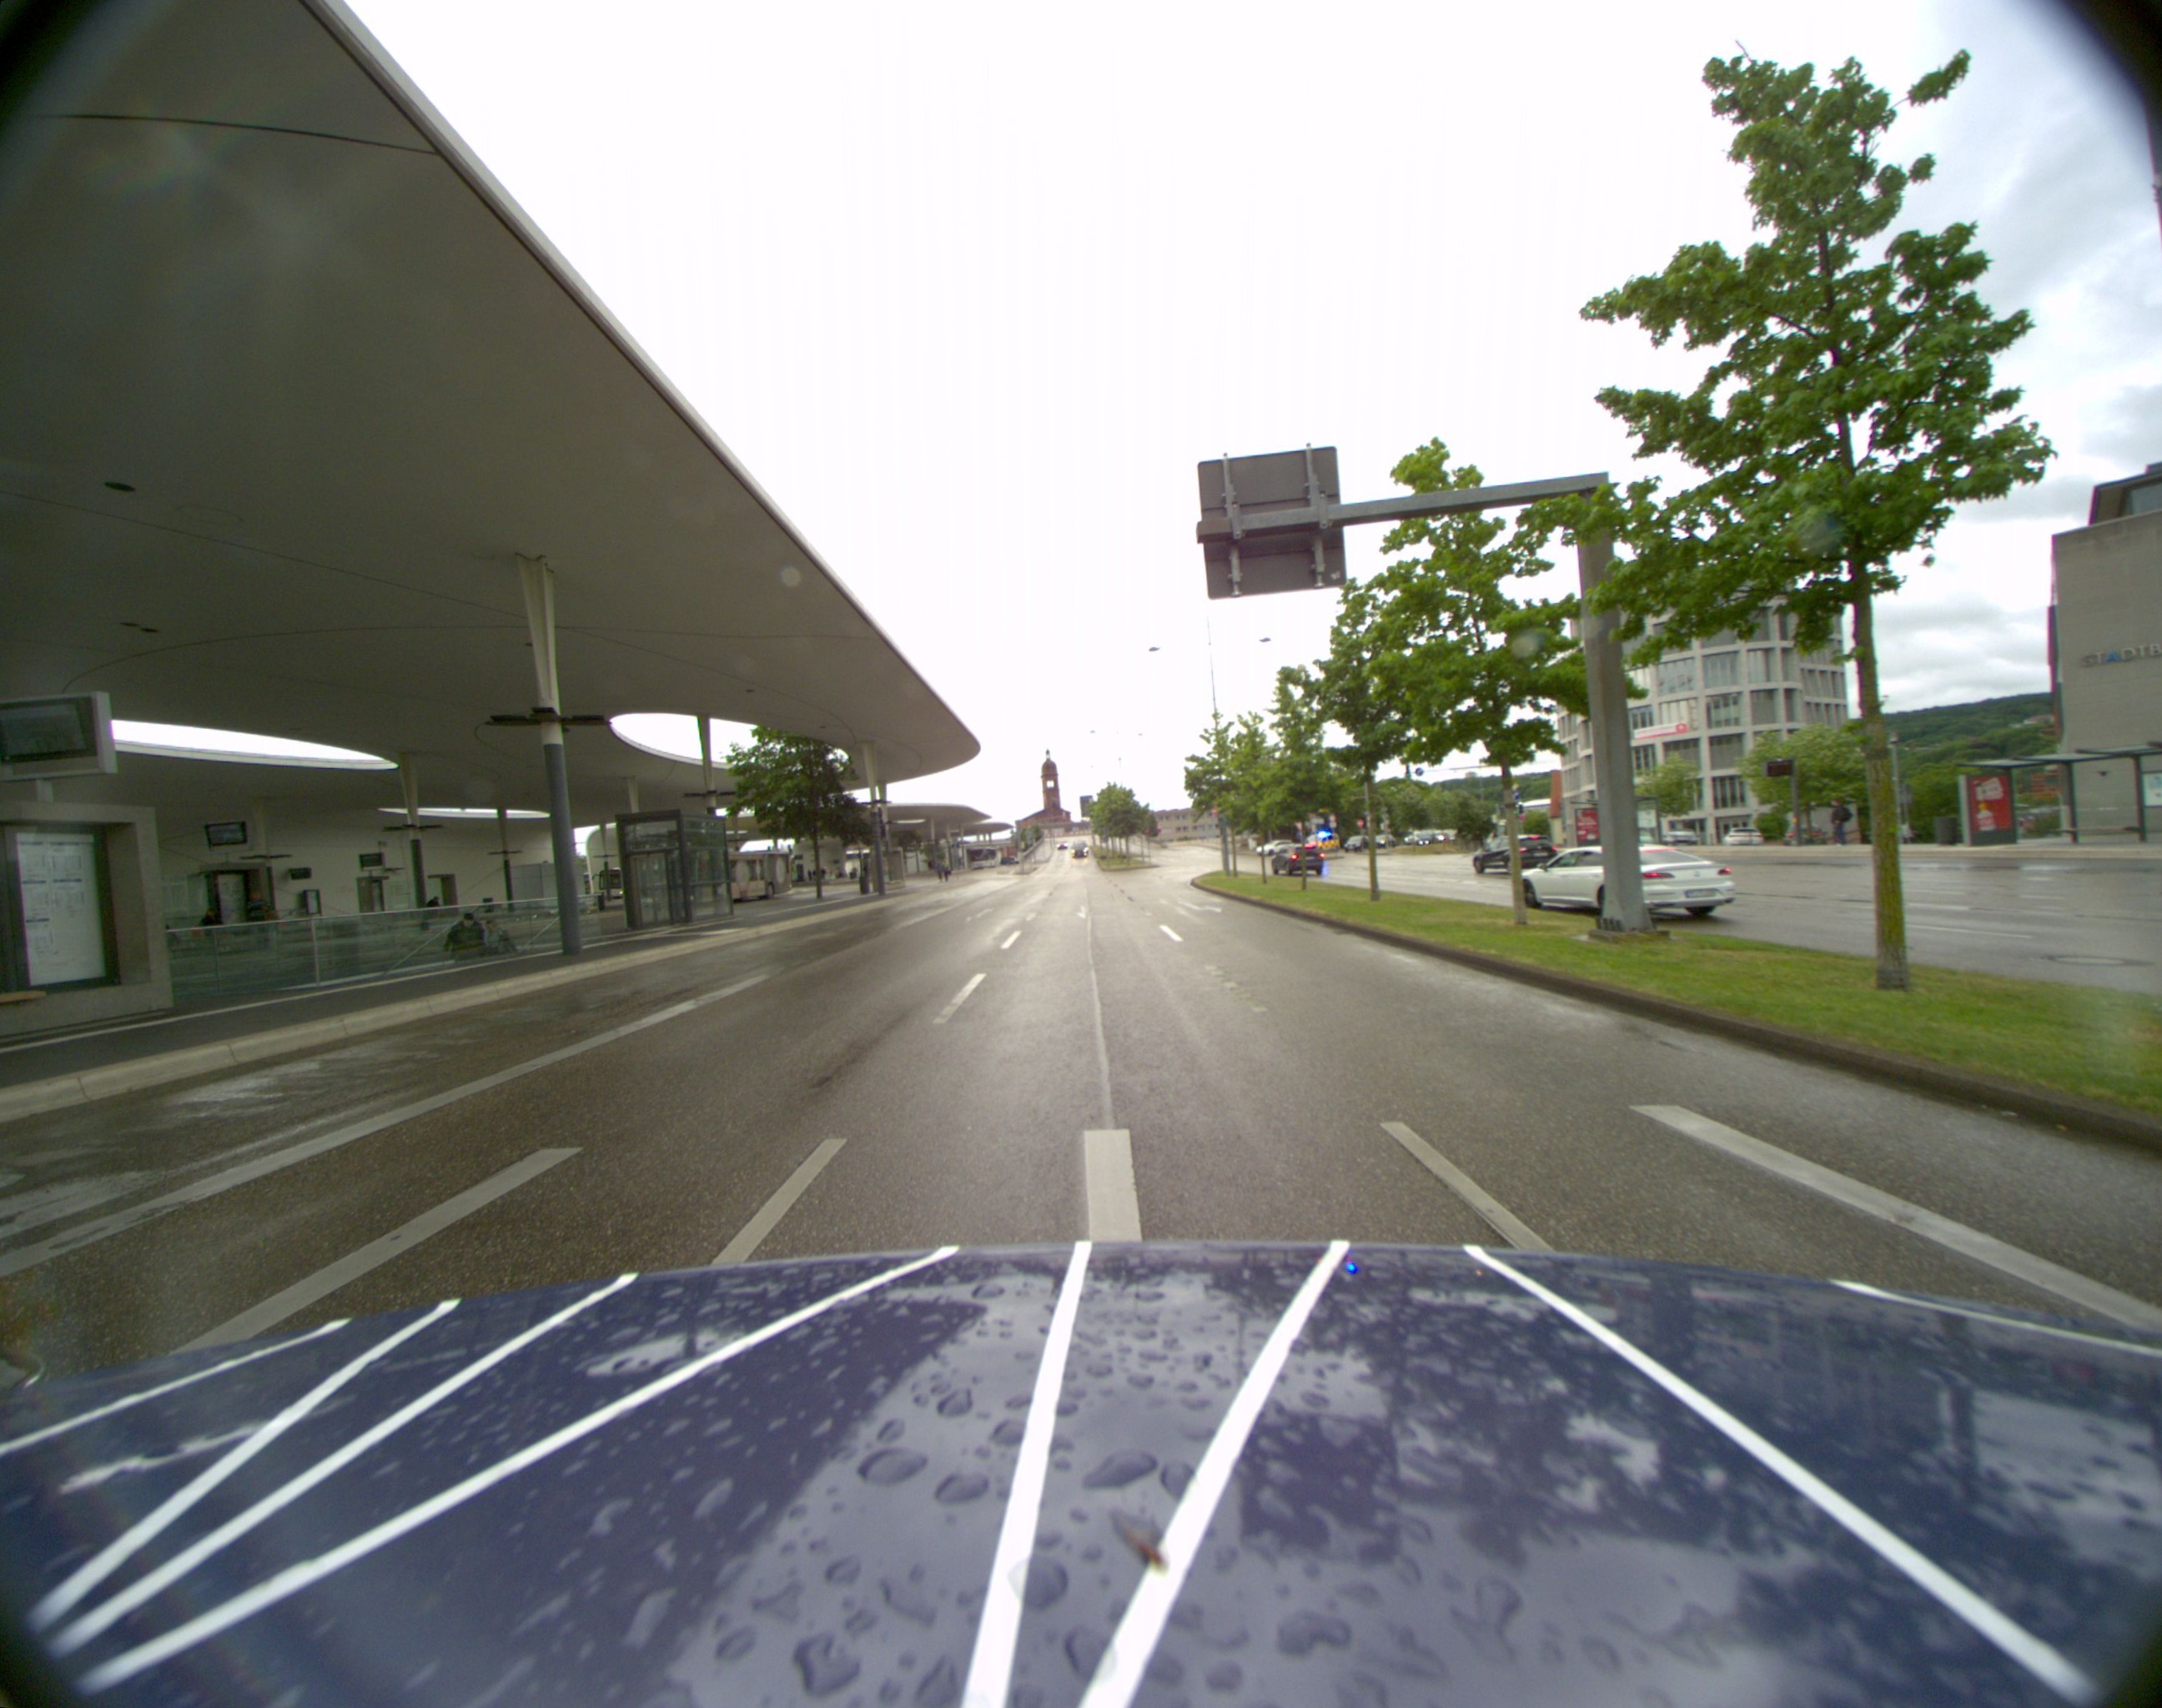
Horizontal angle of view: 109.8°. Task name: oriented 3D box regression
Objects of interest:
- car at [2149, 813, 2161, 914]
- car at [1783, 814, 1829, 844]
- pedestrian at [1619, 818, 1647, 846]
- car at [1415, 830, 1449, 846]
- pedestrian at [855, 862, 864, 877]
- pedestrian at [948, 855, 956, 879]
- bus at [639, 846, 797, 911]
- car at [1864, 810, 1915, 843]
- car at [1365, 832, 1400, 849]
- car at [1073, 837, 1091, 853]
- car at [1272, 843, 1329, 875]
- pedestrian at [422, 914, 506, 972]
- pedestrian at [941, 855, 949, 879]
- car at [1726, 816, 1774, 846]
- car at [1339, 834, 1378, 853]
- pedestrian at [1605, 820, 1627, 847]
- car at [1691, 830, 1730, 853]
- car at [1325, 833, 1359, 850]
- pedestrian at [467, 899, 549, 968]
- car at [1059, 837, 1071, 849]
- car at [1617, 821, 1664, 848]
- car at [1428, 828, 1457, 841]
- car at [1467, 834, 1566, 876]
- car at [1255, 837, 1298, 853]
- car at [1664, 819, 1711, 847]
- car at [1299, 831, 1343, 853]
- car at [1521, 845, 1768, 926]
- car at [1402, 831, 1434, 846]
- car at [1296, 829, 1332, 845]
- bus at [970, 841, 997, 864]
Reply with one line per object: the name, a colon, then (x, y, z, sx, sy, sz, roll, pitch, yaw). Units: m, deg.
car: (17.373, 0.138, 9.722, 1.884, 1.545, 4.002, -2, 1, 3)
car: (43.699, -1.516, 45.769, 4.165, 1.692, 1.872, -3, 1, -44)
pedestrian: (29.796, -1.174, 41.006, 0.983, 1.481, 0.735, -2, 1, 11)
car: (38.674, -1.778, 83.728, 4.165, 1.624, 1.872, -3, 1, -43)
pedestrian: (-31.968, 2.213, 109.693, 1.025, 2.002, 0.879, -2, 1, -14)
pedestrian: (-9.508, 0.942, 55.906, 0.446, 1.753, 0.537, -3, 1, -6)
bus: (-19.823, 1.127, 42.767, 2.876, 3.064, 11.920, -2, 1, 1)
car: (45.825, -1.568, 43.134, 4.165, 1.692, 1.872, -3, 1, -44)
car: (31.978, -1.451, 80.503, 4.165, 1.692, 1.872, -3, 1, -43)
car: (0.069, -1.160, 101.160, 1.999, 2.002, 3.998, -2, 1, -5)
car: (11.669, 0.221, 40.649, 2.009, 1.545, 4.165, -2, 1, 3)
pedestrian: (-12.645, 1.808, 15.610, 0.882, 1.048, 0.958, -2, 1, 4)
pedestrian: (-10.021, 0.947, 55.858, 0.445, 1.753, 0.537, -3, 1, -6)
car: (41.705, -1.471, 47.359, 4.165, 1.692, 1.872, -3, 1, -44)
car: (27.190, -1.029, 74.448, 4.165, 1.692, 1.872, -3, 1, -44)
pedestrian: (29.644, -1.145, 42.111, 0.732, 1.481, 0.734, -2, 1, 9)
car: (49.696, -0.990, 59.952, 4.165, 1.692, 1.872, -3, 1, -44)
car: (29.399, -1.408, 85.538, 4.165, 1.692, 1.872, -3, 1, -43)
pedestrian: (-11.717, 1.611, 15.569, 0.882, 1.268, 0.958, -2, 1, 4)
car: (-2.740, -1.868, 129.540, 1.999, 2.002, 3.999, -2, 1, -1)
car: (37.866, -1.354, 51.379, 4.165, 1.692, 1.872, -3, 1, -44)
car: (47.070, -2.525, 98.874, 4.165, 1.624, 1.872, -3, 1, -43)
car: (17.645, 0.004, 31.004, 1.884, 1.545, 4.002, -2, 1, 3)
car: (20.445, -0.924, 79.454, 4.053, 1.550, 1.809, -3, 1, -23)
car: (39.555, -1.398, 49.524, 4.165, 1.692, 1.872, -3, 1, -44)
car: (23.970, -1.246, 75.833, 5.071, 2.002, 1.994, -3, 1, -44)
car: (11.055, 0.531, 15.373, 2.009, 1.345, 4.165, -2, 1, 2)
car: (40.115, -1.907, 90.362, 4.309, 1.624, 1.872, -3, 1, -43)
car: (26.340, -1.917, 85.736, 4.165, 1.624, 1.872, -3, 1, -41)
bus: (-14.699, -0.195, 113.869, 3.584, 3.080, 10.746, -3, 0, -8)
